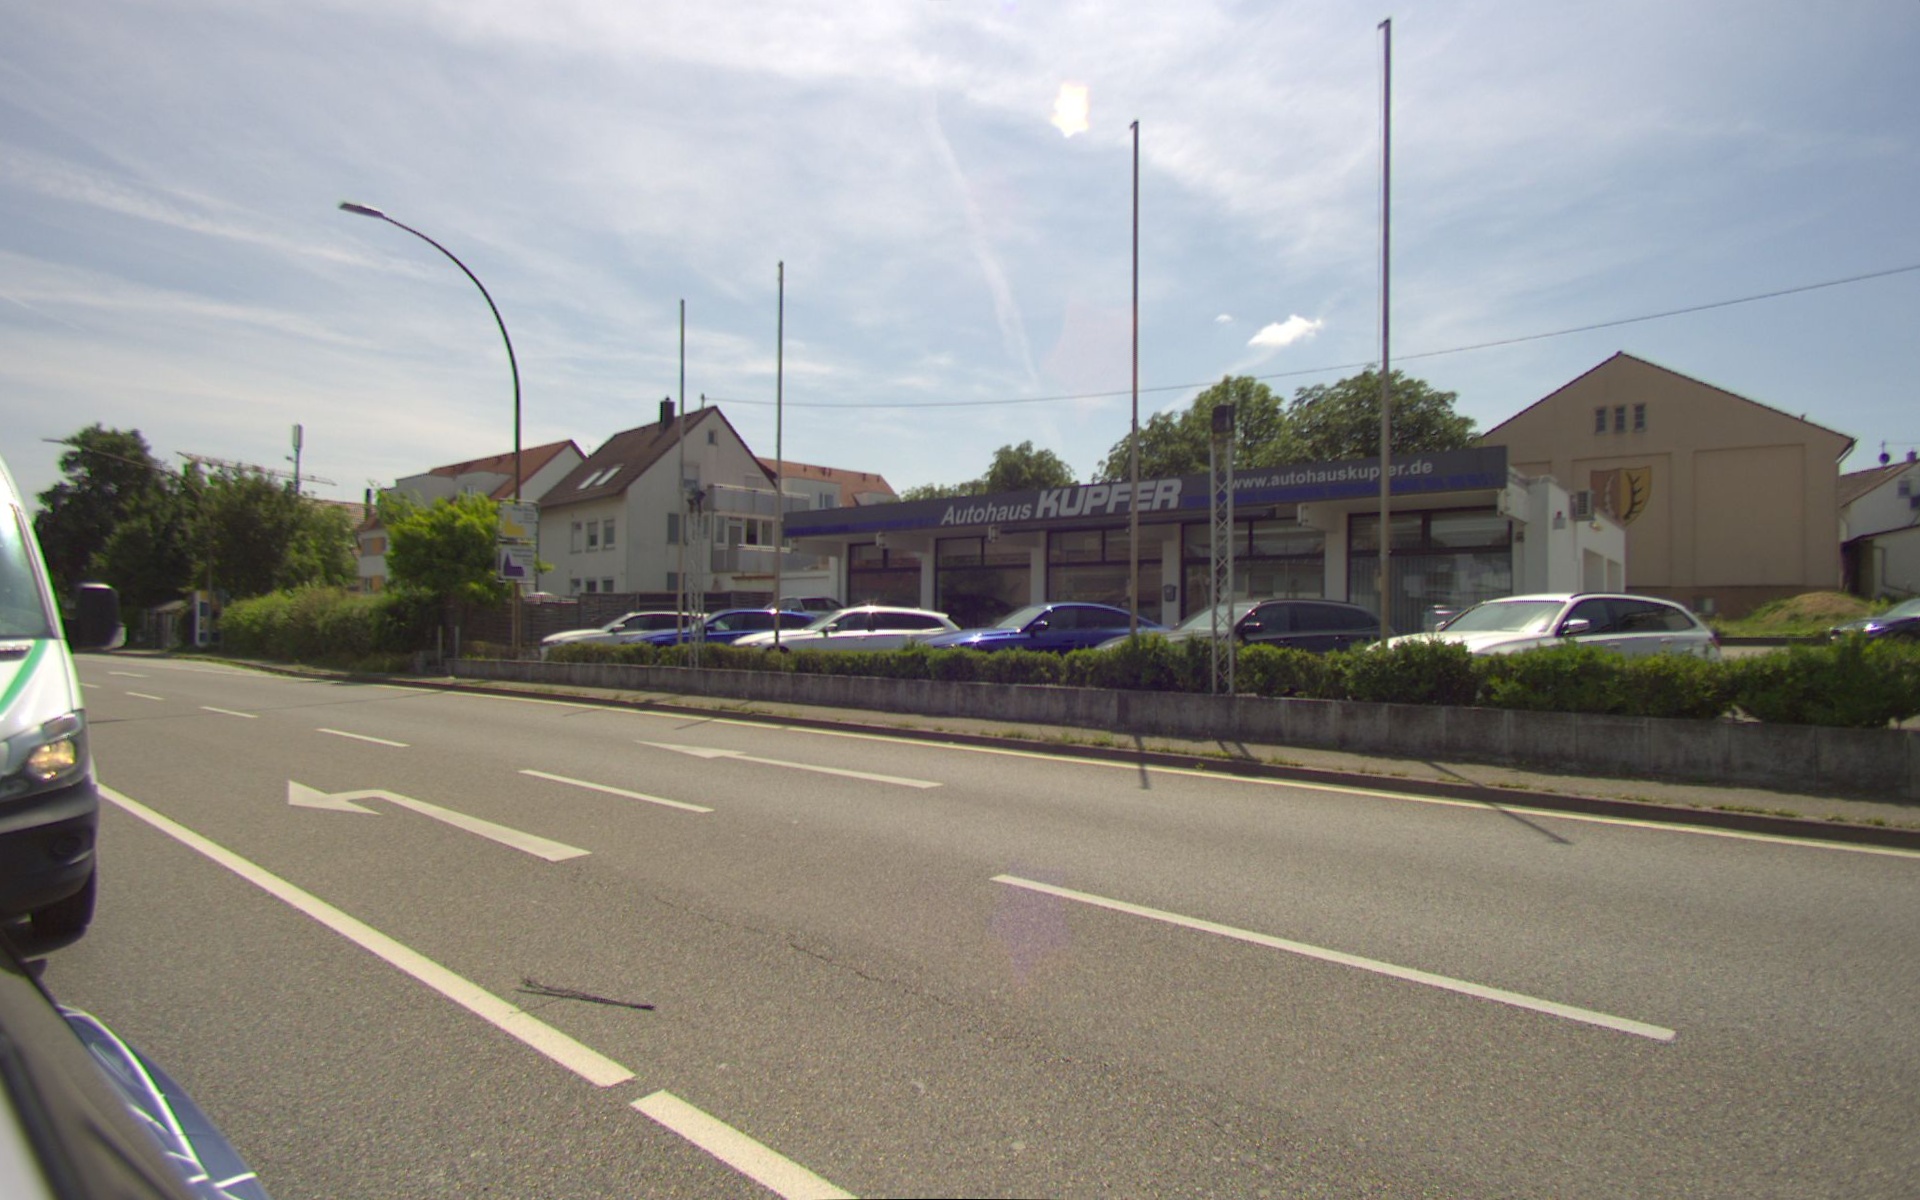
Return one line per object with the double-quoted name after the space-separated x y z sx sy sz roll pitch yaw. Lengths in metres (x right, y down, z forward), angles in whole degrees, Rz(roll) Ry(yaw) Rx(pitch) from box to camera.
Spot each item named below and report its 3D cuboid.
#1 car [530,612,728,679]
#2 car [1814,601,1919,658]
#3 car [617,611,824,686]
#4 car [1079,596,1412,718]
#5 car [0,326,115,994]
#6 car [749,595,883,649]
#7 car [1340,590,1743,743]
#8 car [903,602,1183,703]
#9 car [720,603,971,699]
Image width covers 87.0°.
-8.212 1.088 25.205 4.501 1.458 1.863 -1 0 -21 "car"
23.568 0.668 24.609 3.946 1.231 1.791 -2 0 2 "car"
-5.335 1.020 22.518 4.267 1.458 1.863 -1 0 -21 "car"
4.015 0.694 14.228 4.267 1.458 1.905 -1 0 -24 "car"
-6.239 0.278 5.252 5.745 2.548 1.914 -2 -1 40 "car"
-4.374 0.691 30.199 1.781 1.475 4.589 -1 -1 -40 "car"
6.688 0.635 11.622 4.267 1.458 1.863 -1 0 -24 "car"
1.373 0.796 16.943 4.267 1.458 1.863 -1 0 -20 "car"
-2.233 0.909 19.560 4.438 1.458 1.863 -3 1 -19 "car"
